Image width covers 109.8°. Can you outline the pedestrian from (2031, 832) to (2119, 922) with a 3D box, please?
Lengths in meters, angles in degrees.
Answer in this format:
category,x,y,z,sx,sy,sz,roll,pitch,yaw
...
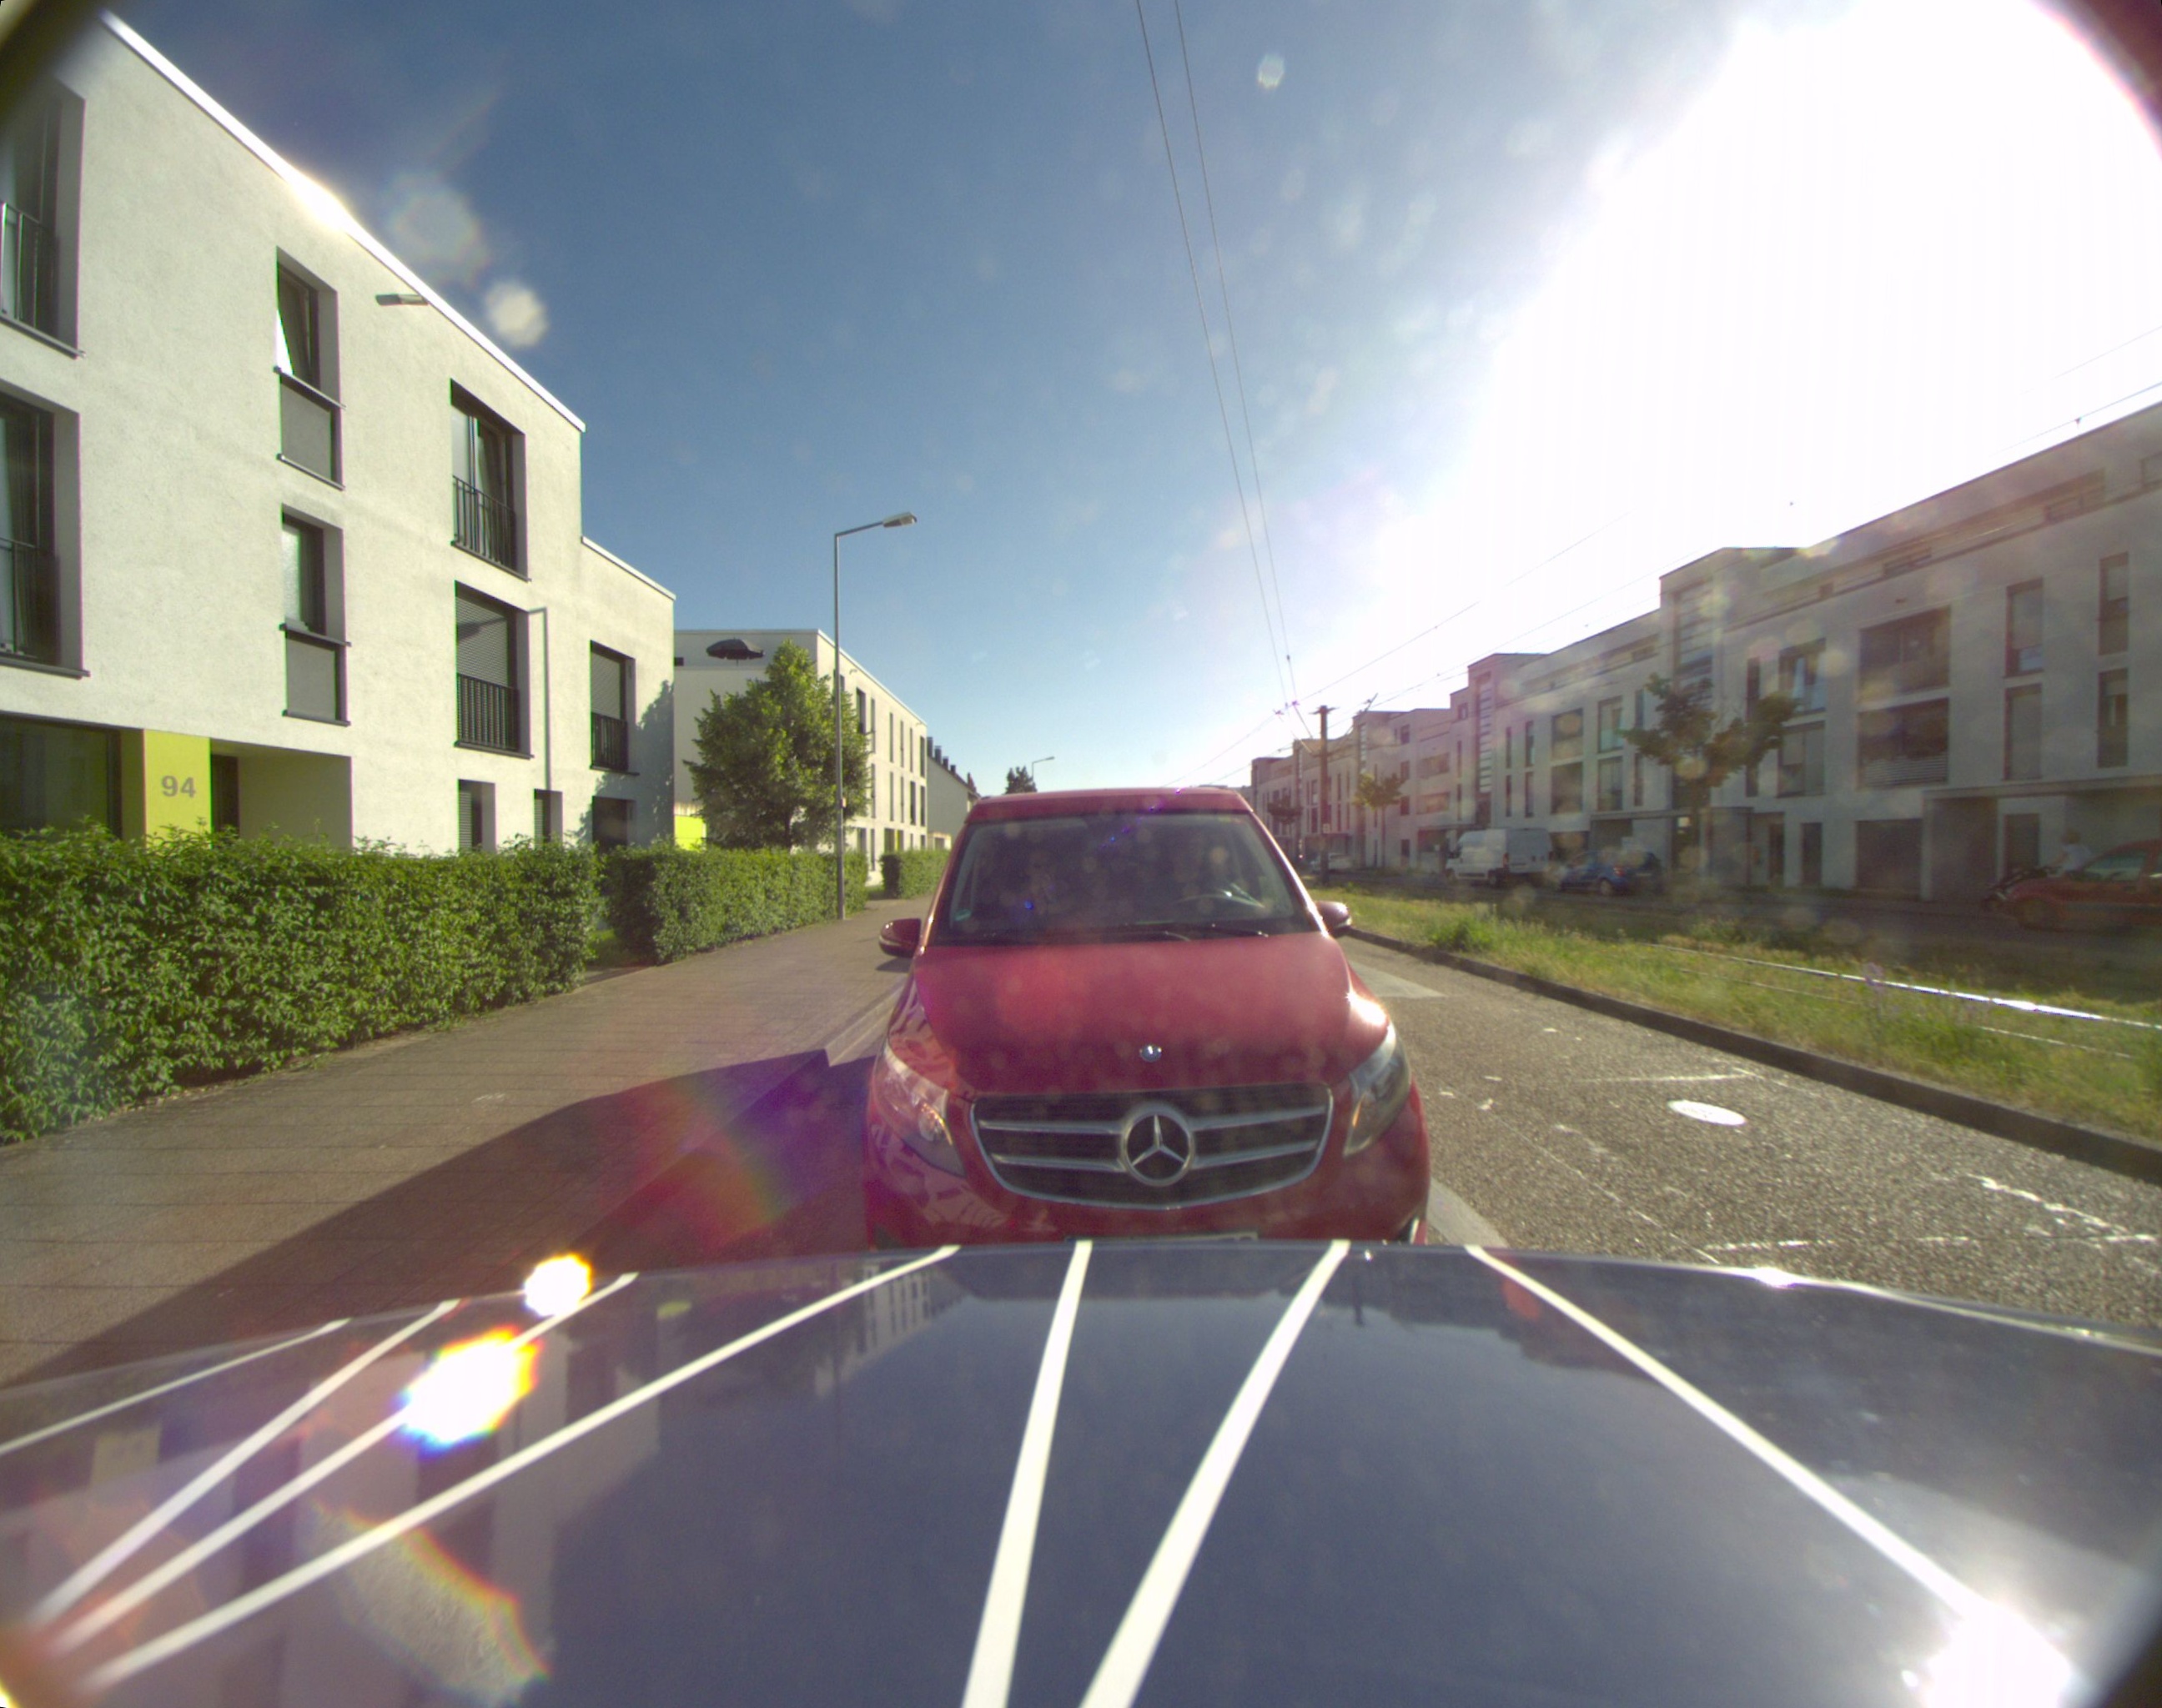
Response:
category,x,y,z,sx,sy,sz,roll,pitch,yaw
pedestrian,20.616,0.464,15.772,0.776,1.812,0.785,-2,1,1

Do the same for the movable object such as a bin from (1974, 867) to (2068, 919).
category,x,y,z,sx,sy,sz,roll,pitch,yaw
movable object such as a bin,20.649,0.832,16.712,0.729,1.048,1.083,-2,1,1

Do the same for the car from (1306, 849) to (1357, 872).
category,x,y,z,sx,sy,sz,roll,pitch,yaw
car,17.631,0.415,53.741,1.923,1.497,4.282,-2,1,-4

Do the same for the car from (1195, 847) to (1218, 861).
category,x,y,z,sx,sy,sz,roll,pitch,yaw
car,15.469,-0.039,93.907,1.923,1.671,4.282,-2,1,-4

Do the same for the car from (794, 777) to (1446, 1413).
category,x,y,z,sx,sy,sz,roll,pitch,yaw
car,0.150,0.703,4.516,1.874,1.843,4.506,-2,1,1

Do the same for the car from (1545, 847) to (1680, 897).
category,x,y,z,sx,sy,sz,roll,pitch,yaw
car,18.374,0.578,26.500,1.999,1.536,3.835,-2,1,0

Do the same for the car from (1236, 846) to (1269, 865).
category,x,y,z,sx,sy,sz,roll,pitch,yaw
car,16.714,0.133,74.355,1.923,1.671,4.282,-2,1,-4

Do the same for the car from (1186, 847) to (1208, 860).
category,x,y,z,sx,sy,sz,roll,pitch,yaw
car,15.182,-0.061,99.658,1.923,1.671,4.282,-2,1,-4

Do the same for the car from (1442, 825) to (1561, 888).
category,x,y,z,sx,sy,sz,roll,pitch,yaw
car,18.166,0.076,33.172,2.225,2.458,5.195,-2,1,0

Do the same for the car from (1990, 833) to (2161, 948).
category,x,y,z,sx,sy,sz,roll,pitch,yaw
car,18.615,0.581,12.810,1.998,1.817,3.895,-2,1,3
